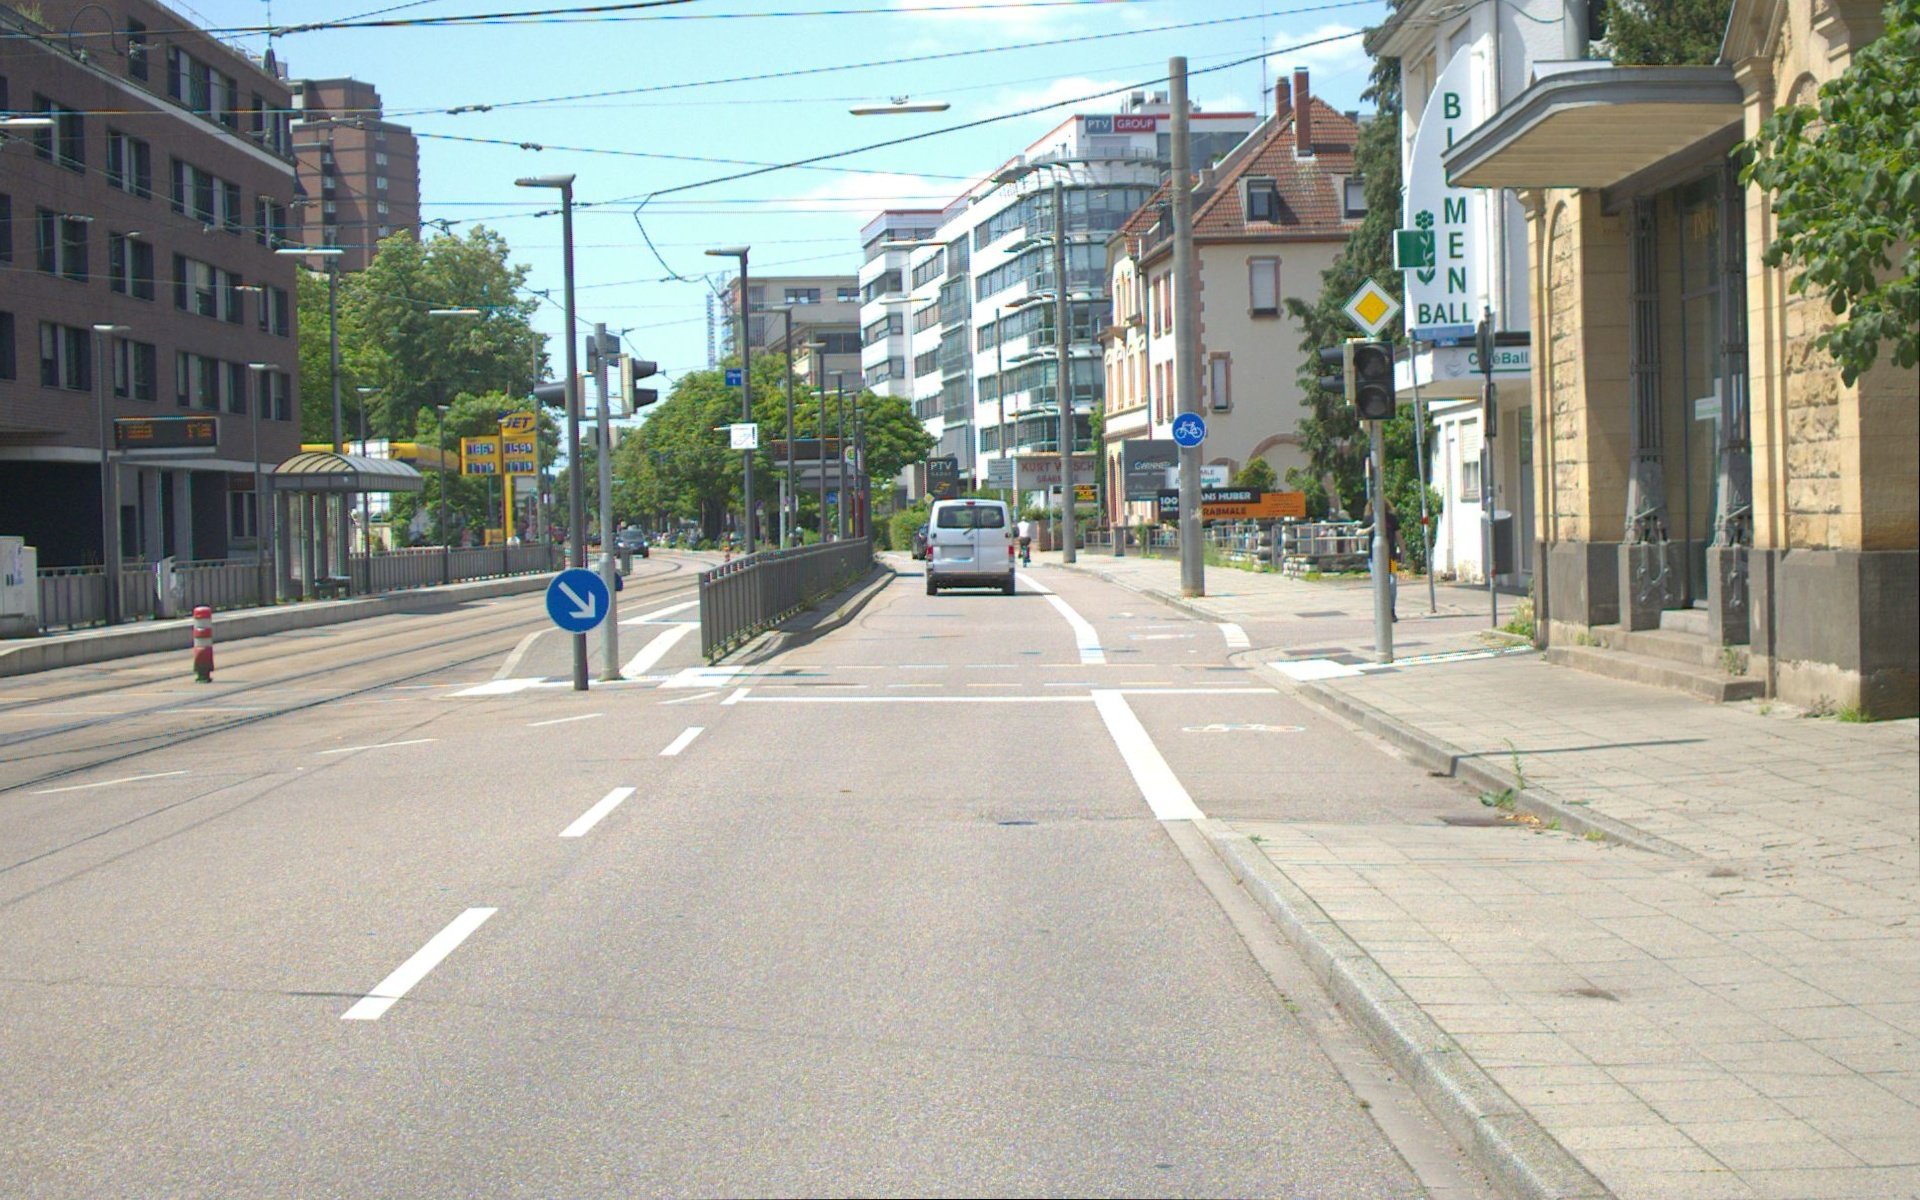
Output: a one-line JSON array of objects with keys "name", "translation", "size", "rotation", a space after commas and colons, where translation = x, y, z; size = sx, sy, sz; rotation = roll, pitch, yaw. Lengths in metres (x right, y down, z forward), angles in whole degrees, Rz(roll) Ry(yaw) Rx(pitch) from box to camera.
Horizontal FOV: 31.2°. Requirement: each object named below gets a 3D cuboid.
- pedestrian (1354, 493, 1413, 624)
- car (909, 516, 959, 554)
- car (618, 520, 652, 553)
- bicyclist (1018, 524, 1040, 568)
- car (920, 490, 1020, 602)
[{"name": "pedestrian", "translation": [5.161, -0.506, 41.890], "size": [0.577, 1.550, 0.786], "rotation": [-3, 1, 3]}, {"name": "car", "translation": [-1.228, -3.055, 161.251], "size": [1.863, 1.681, 5.001], "rotation": [-2, 2, -5]}, {"name": "car", "translation": [-18.979, -3.710, 200.632], "size": [1.698, 1.610, 3.758], "rotation": [-5, -1, -8]}, {"name": "bicyclist", "translation": [2.210, -1.724, 110.165], "size": [0.591, 1.392, 0.842], "rotation": [-1, 1, -4]}, {"name": "car", "translation": [0.165, -1.086, 67.106], "size": [1.752, 2.006, 4.001], "rotation": [-3, 2, -1]}]
